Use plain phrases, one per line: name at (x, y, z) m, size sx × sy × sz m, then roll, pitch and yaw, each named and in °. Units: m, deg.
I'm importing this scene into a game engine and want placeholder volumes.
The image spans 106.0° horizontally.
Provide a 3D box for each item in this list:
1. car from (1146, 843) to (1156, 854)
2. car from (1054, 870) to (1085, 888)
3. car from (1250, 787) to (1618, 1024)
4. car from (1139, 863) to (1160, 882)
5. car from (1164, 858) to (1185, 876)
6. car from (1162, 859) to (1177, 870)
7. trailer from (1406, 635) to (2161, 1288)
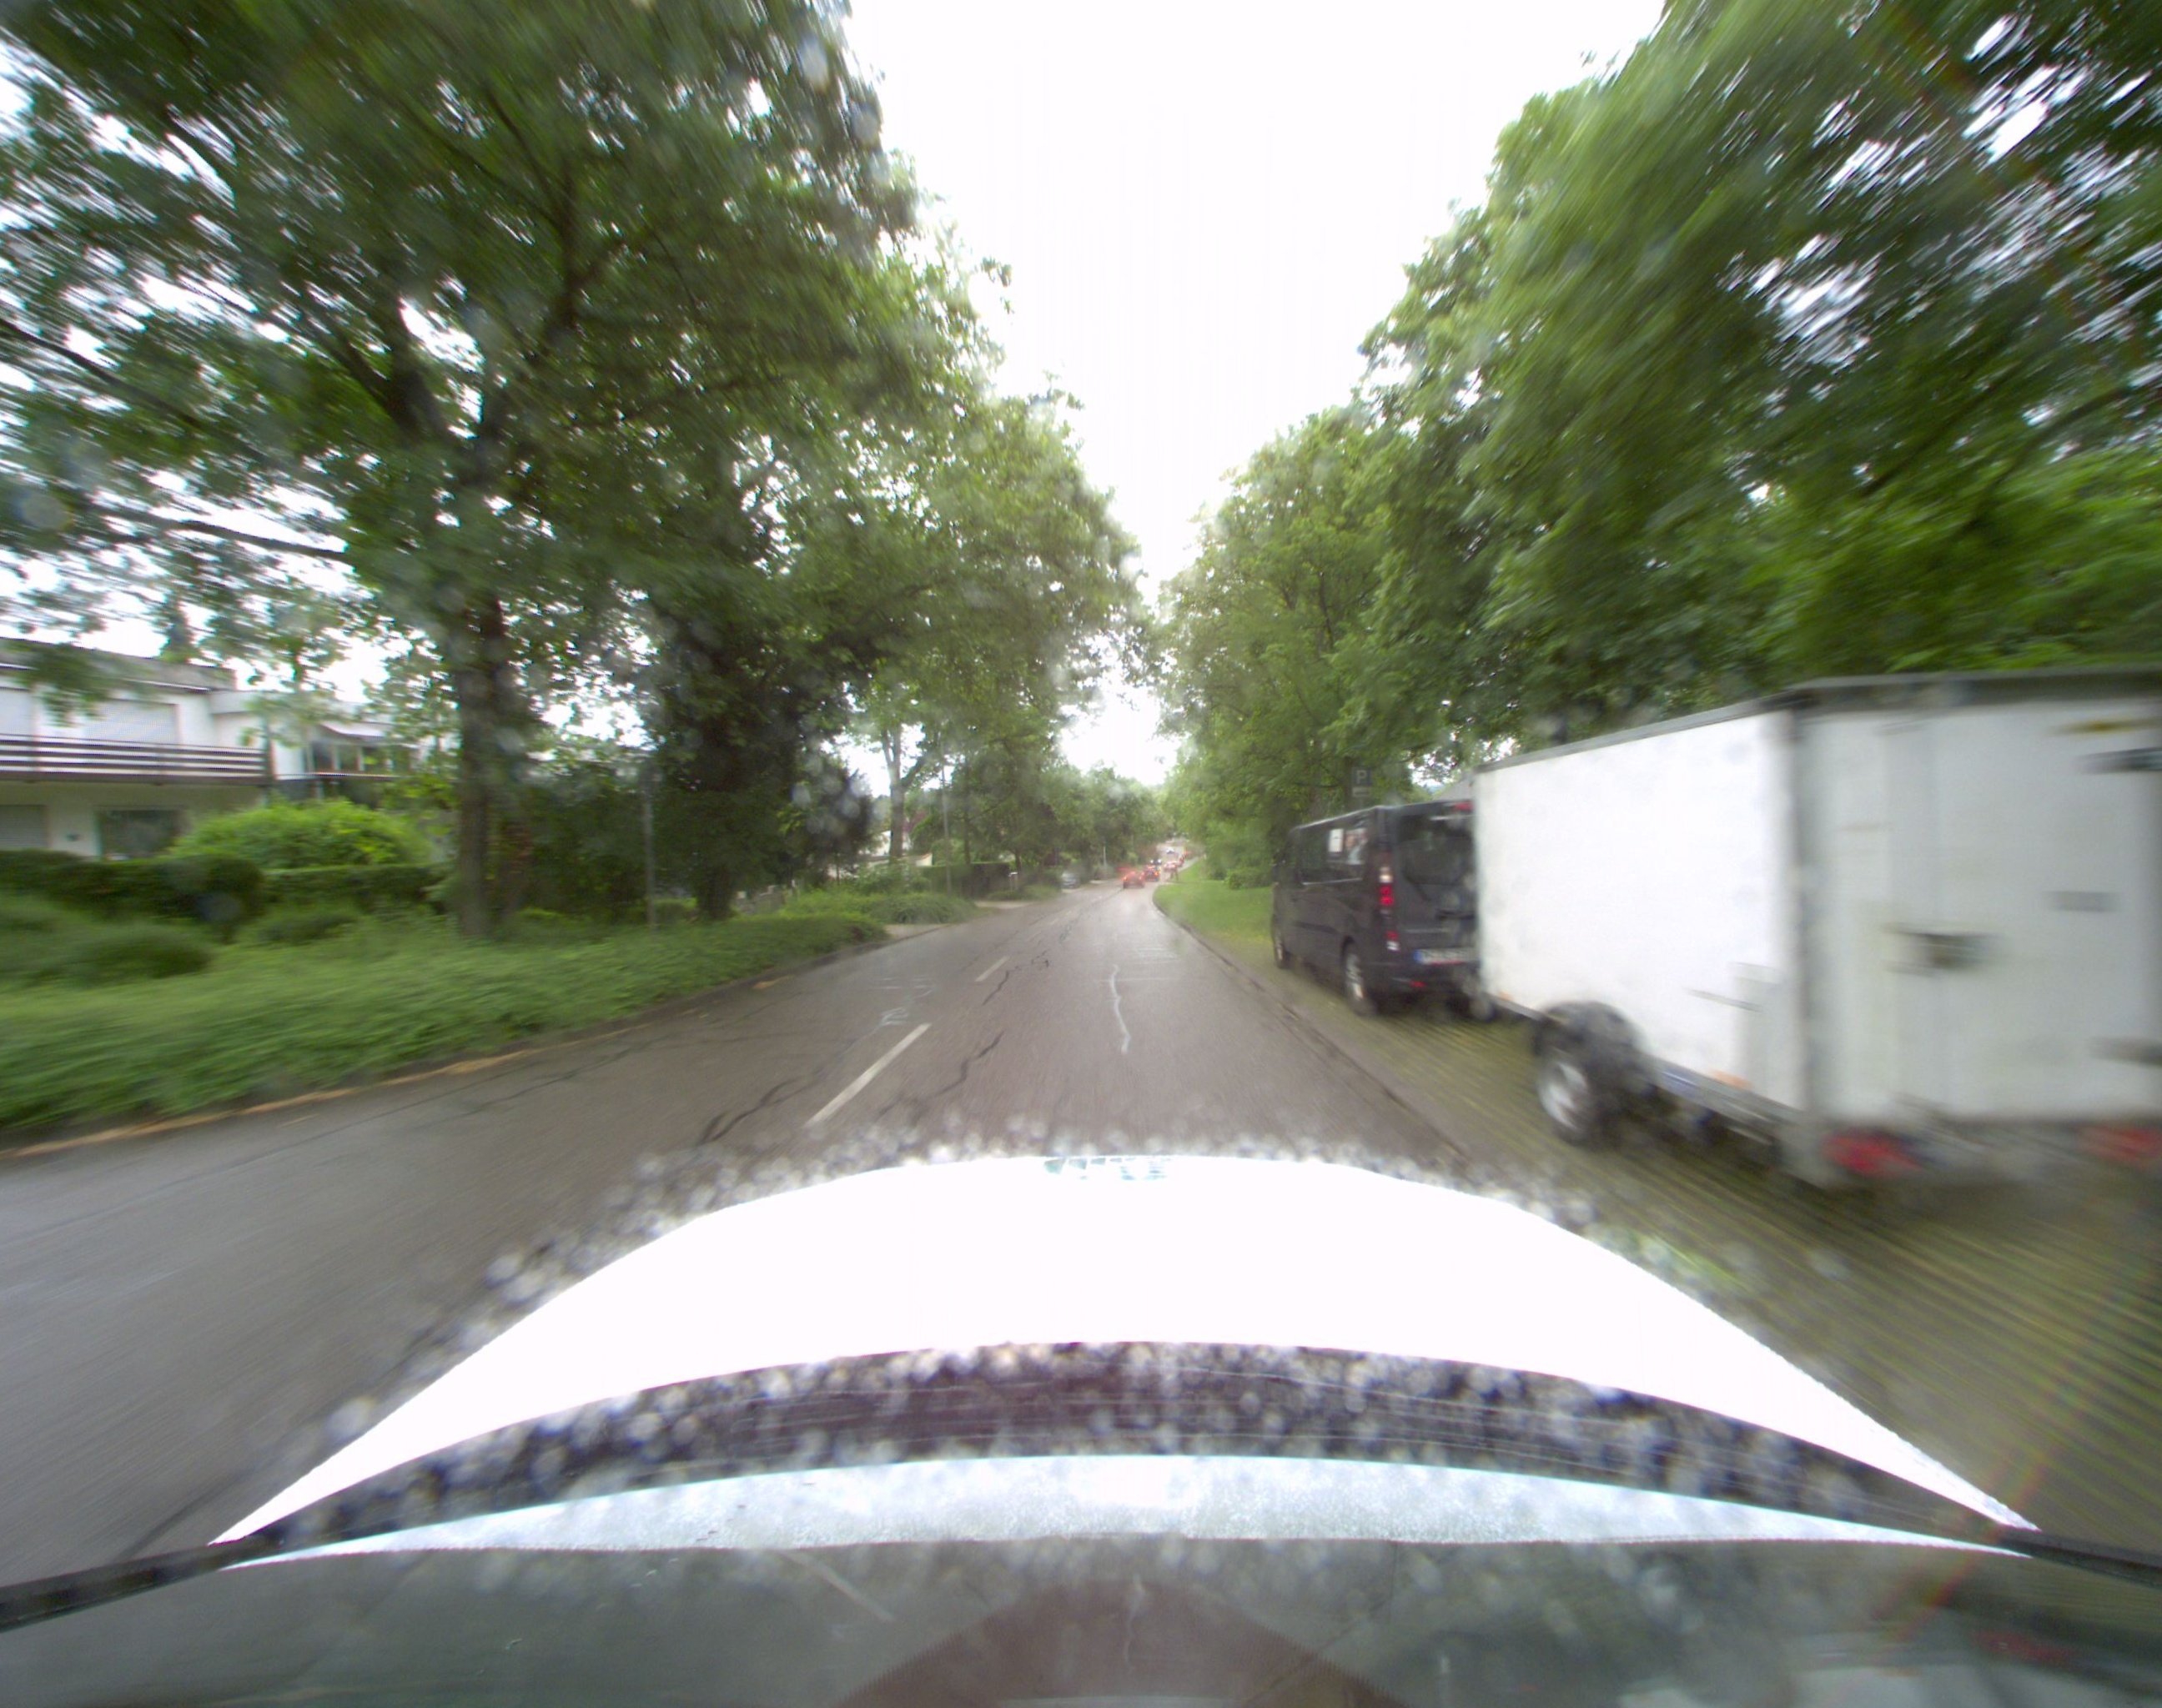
car at (15.026, -1.252, 175.365) m, size 1.985 × 2.013 × 4.006 m, roll -2°, pitch 4°, yaw 4°
car at (-1.104, 2.358, 78.092) m, size 1.979 × 1.599 × 4.024 m, roll -2°, pitch -1°, yaw 13°
car at (3.508, 0.461, 9.548) m, size 1.986 × 1.910 × 5.510 m, roll -2°, pitch -1°, yaw 1°
car at (7.678, 2.101, 91.707) m, size 1.987 × 2.014 × 4.000 m, roll -2°, pitch -1°, yaw 1°
car at (10.967, 1.591, 95.739) m, size 1.986 × 2.014 × 4.000 m, roll -2°, pitch -1°, yaw 1°
car at (13.295, 1.597, 123.098) m, size 1.849 × 1.692 × 4.000 m, roll -2°, pitch -1°, yaw 1°
trailer at (3.389, 0.343, 4.649) m, size 1.524 × 2.075 × 4.002 m, roll -3°, pitch 0°, yaw 3°
